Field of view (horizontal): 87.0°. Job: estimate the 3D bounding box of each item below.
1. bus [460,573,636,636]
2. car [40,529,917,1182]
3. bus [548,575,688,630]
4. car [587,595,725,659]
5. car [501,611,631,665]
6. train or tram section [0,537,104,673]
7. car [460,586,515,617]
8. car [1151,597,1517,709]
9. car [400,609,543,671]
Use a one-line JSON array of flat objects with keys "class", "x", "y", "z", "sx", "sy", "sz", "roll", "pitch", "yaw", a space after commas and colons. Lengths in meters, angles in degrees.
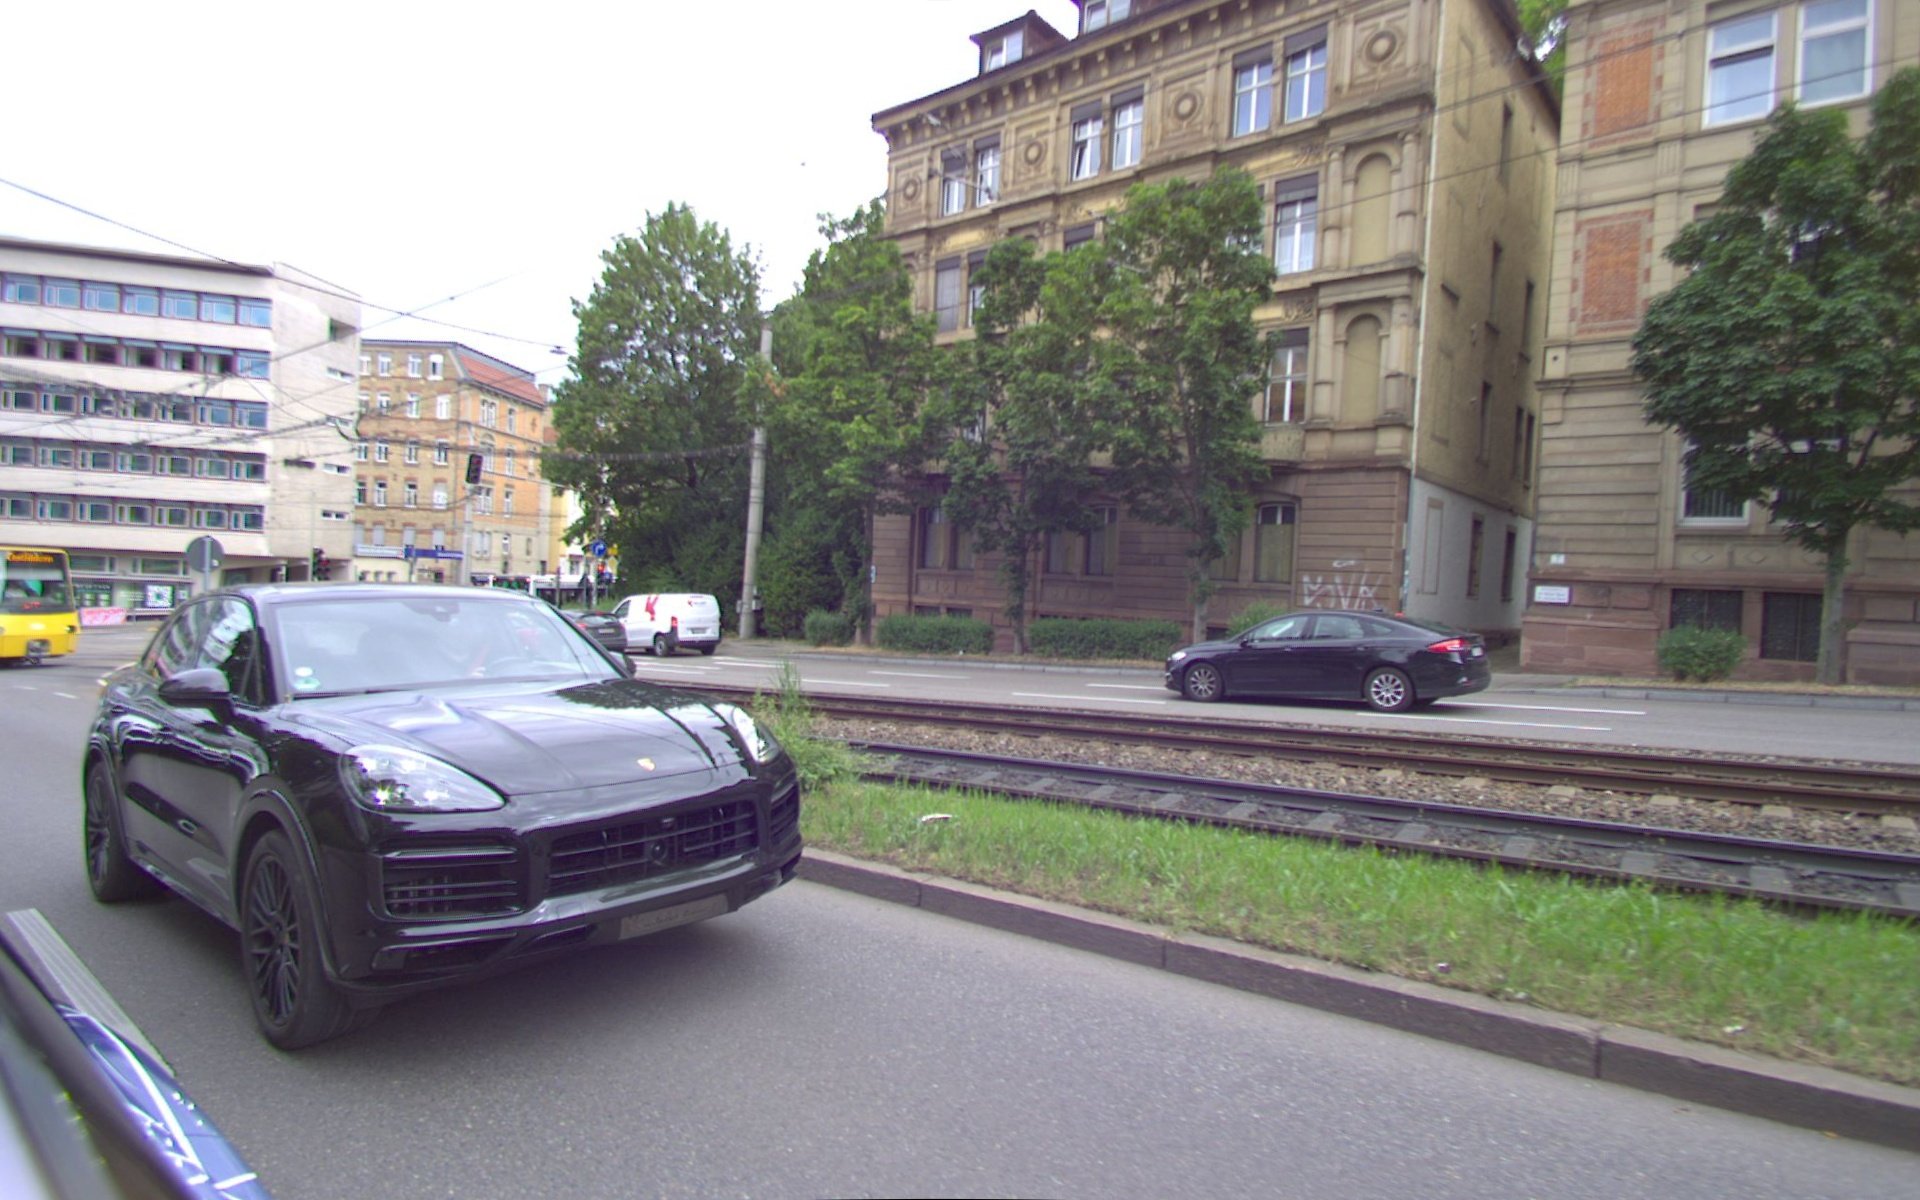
[{"class": "bus", "x": -22.104, "y": 0.176, "z": 55.431, "sx": 3.352, "sy": 3.052, "sz": 11.513, "roll": -1, "pitch": 0, "yaw": 10}, {"class": "car", "x": -2.660, "y": 0.639, "z": 4.930, "sx": 4.776, "sy": 1.697, "sz": 2.007, "roll": 1, "pitch": 0, "yaw": 39}, {"class": "bus", "x": -20.876, "y": 0.113, "z": 62.838, "sx": 3.287, "sy": 3.066, "sz": 11.330, "roll": -1, "pitch": 0, "yaw": 9}, {"class": "car", "x": -9.734, "y": 0.829, "z": 32.189, "sx": 4.992, "sy": 1.863, "sz": 1.972, "roll": -1, "pitch": -1, "yaw": 43}, {"class": "car", "x": -11.841, "y": 1.085, "z": 30.282, "sx": 4.403, "sy": 1.437, "sz": 1.725, "roll": 0, "pitch": 1, "yaw": 41}, {"class": "train or tram section", "x": -32.639, "y": 0.126, "z": 30.826, "sx": 14.356, "sy": 3.691, "sz": 2.874, "roll": 0, "pitch": 2, "yaw": 18}, {"class": "car", "x": -35.884, "y": 0.079, "z": 77.009, "sx": 1.974, "sy": 2.027, "sz": 3.998, "roll": -9, "pitch": 0, "yaw": 2}, {"class": "car", "x": 5.559, "y": 0.757, "z": 15.510, "sx": 4.943, "sy": 1.461, "sz": 1.800, "roll": -2, "pitch": -2, "yaw": 41}, {"class": "car", "x": -14.073, "y": 1.077, "z": 29.055, "sx": 4.401, "sy": 1.530, "sz": 1.974, "roll": 0, "pitch": 2, "yaw": 39}]
